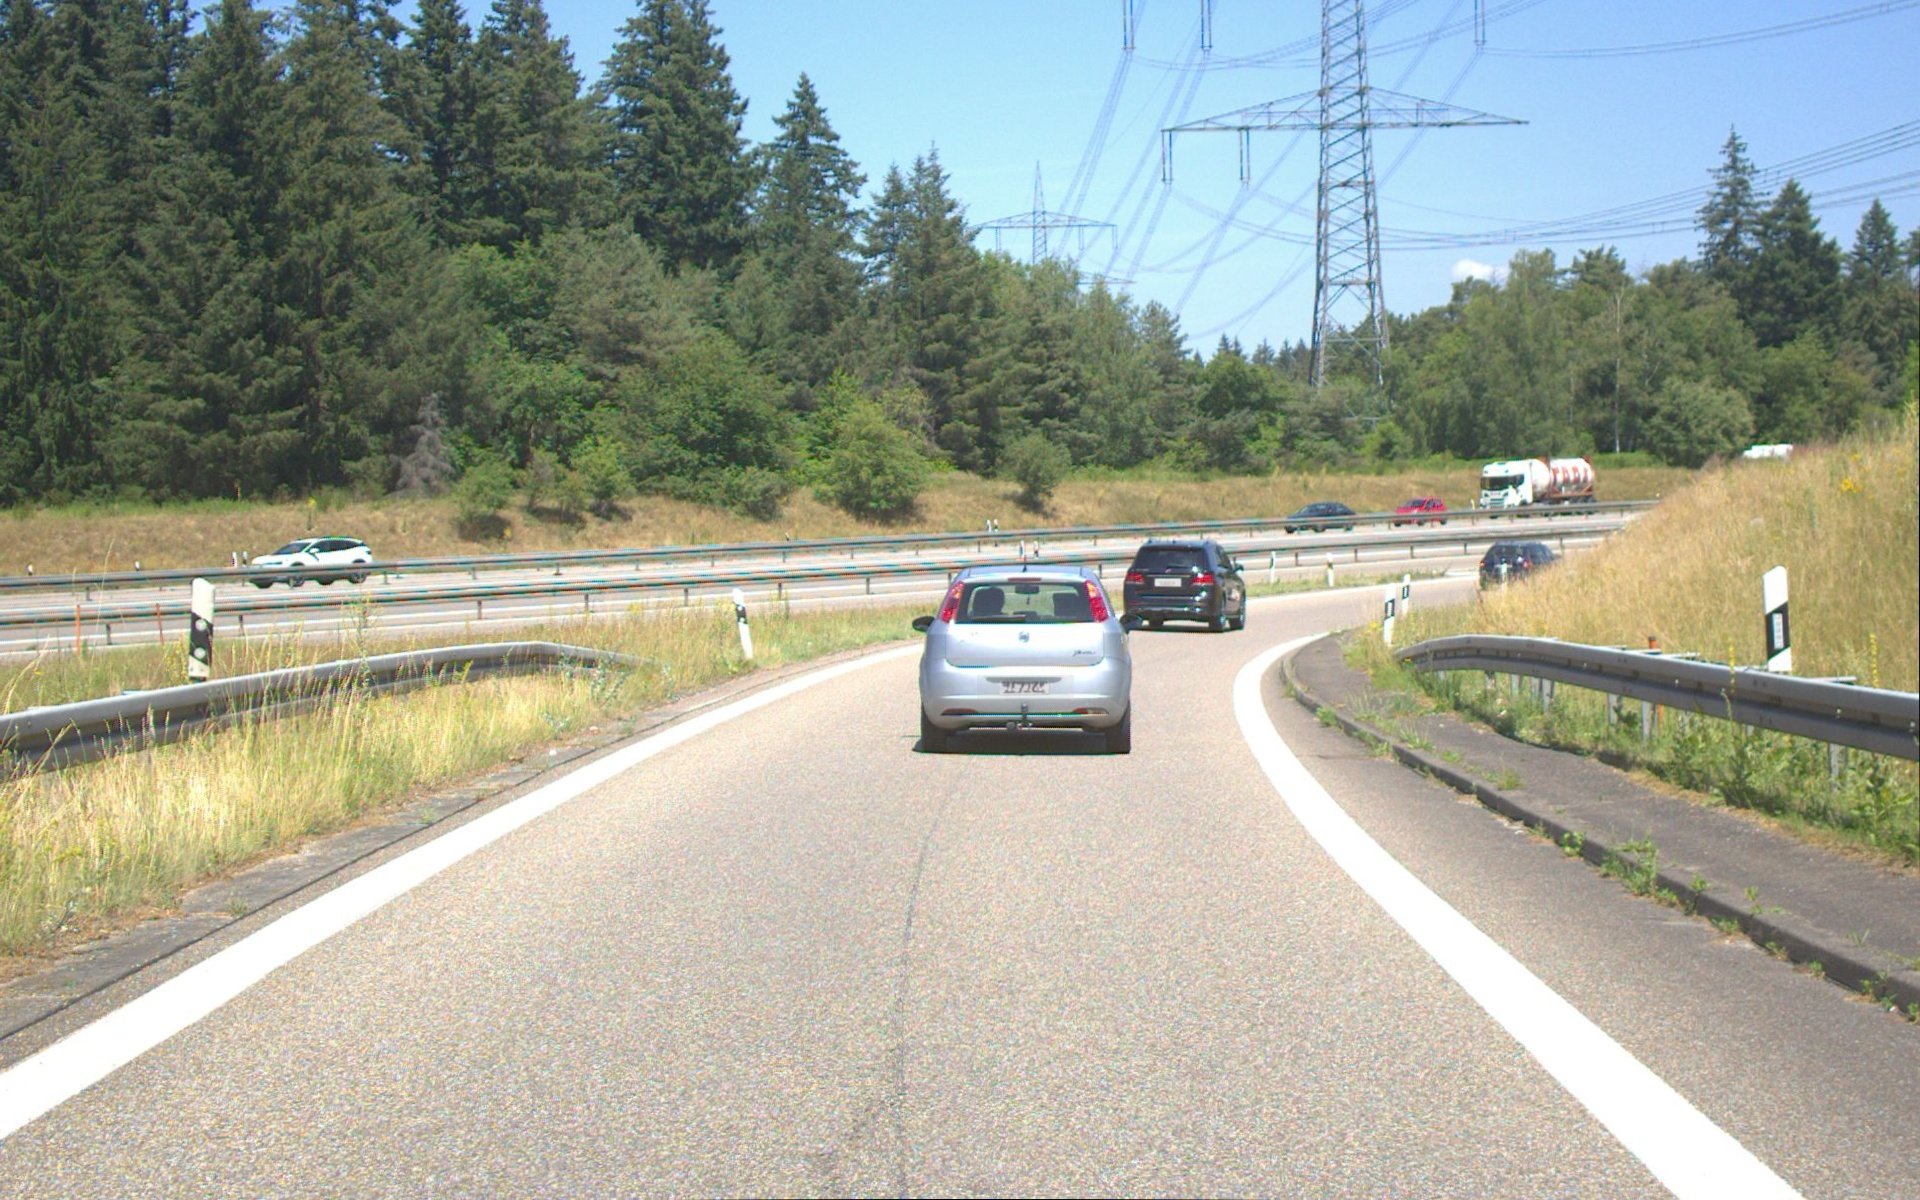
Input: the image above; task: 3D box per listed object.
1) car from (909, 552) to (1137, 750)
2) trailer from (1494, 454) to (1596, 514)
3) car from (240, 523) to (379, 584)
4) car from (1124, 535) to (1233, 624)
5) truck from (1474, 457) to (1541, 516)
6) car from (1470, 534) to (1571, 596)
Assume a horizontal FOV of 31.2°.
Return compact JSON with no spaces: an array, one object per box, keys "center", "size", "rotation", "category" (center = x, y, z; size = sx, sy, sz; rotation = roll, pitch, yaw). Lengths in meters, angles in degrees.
[{"center":[0.484,0.366,27.913],"size":[1.706,1.477,3.398],"rotation":[1,1,0],"category":"car"},{"center":[39.616,-7.864,232.468],"size":[2.778,3.784,8.917],"rotation":[1,4,39],"category":"trailer"},{"center":[-22.063,-1.590,116.717],"size":[1.998,1.842,4.349],"rotation":[1,4,38],"category":"car"},{"center":[4.276,-0.424,66.862],"size":[1.707,1.670,3.396],"rotation":[1,1,11],"category":"car"},{"center":[36.393,-7.577,228.468],"size":[2.774,3.784,3.992],"rotation":[1,4,39],"category":"truck"},{"center":[16.632,-1.051,101.914],"size":[1.884,1.678,3.995],"rotation":[-2,1,25],"category":"car"}]
